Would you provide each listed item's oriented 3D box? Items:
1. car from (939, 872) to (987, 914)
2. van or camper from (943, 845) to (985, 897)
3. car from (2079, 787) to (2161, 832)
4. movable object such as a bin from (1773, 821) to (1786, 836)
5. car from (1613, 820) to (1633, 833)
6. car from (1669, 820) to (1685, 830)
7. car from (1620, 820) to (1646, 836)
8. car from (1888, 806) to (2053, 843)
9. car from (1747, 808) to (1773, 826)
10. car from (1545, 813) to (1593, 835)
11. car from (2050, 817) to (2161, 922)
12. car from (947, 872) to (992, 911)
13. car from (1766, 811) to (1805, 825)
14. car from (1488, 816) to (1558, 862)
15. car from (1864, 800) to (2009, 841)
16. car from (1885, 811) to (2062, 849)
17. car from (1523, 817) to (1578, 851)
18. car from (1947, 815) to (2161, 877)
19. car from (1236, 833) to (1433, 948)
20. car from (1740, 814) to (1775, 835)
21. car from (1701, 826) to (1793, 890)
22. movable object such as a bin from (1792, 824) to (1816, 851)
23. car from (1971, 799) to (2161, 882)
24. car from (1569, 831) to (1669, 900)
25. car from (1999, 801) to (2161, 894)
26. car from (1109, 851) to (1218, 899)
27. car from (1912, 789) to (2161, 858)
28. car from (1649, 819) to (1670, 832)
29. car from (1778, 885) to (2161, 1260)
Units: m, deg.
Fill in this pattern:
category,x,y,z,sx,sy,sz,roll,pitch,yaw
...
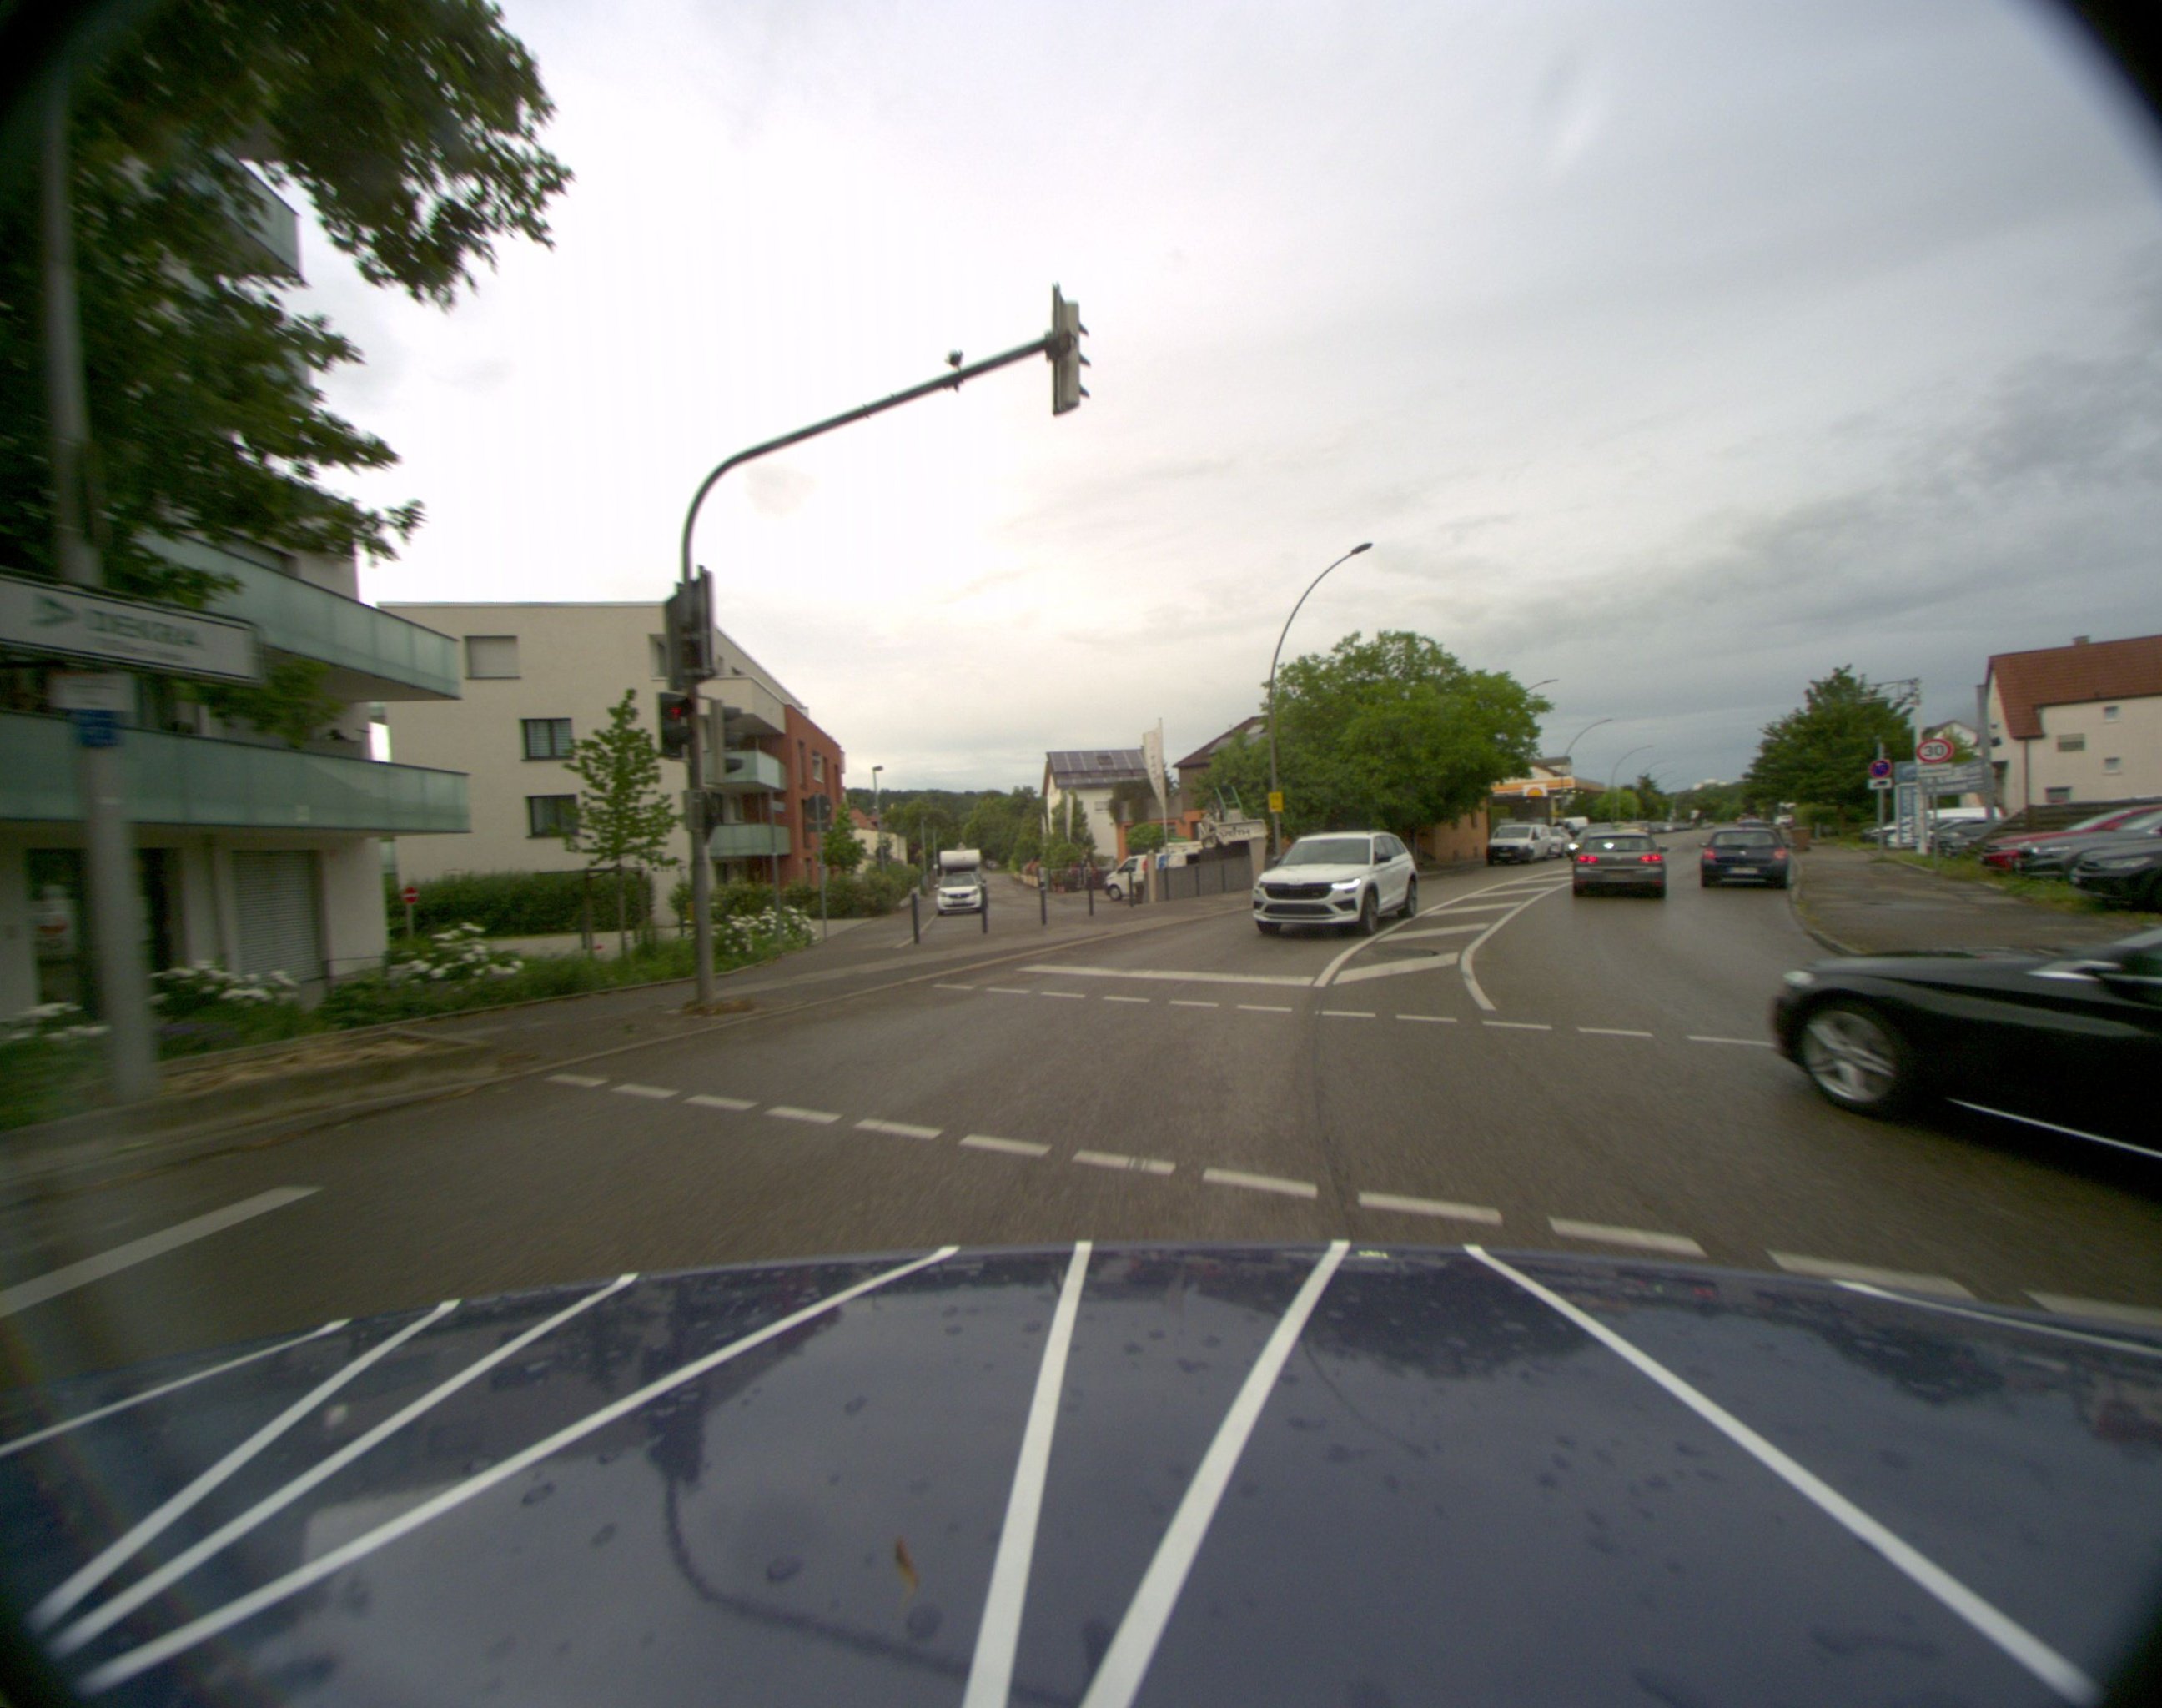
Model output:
category,x,y,z,sx,sy,sz,roll,pitch,yaw
car,-4.661,1.497,29.927,1.728,1.463,2.741,-3,-1,-10
van or camper,-7.257,1.045,47.309,2.326,2.977,5.946,-3,-1,-8
car,48.448,-2.019,34.898,1.994,1.920,5.063,-1,2,39
movable object such as a bin,45.125,-1.629,49.105,0.540,0.905,0.425,-5,-1,40
car,72.629,-3.707,101.785,1.994,1.673,4.007,-2,1,37
car,97.545,-4.752,124.310,1.752,1.410,4.118,-1,1,41
car,53.351,-2.524,73.397,1.657,1.394,3.808,-2,1,41
car,38.048,-1.252,32.705,4.378,1.366,1.892,-2,1,41
car,55.249,-3.000,61.871,1.546,1.395,3.604,0,2,41
car,62.147,-3.754,96.850,4.794,2.506,2.250,-2,1,19
car,16.579,0.139,10.309,3.989,1.432,1.807,-3,0,44
car,-5.055,1.652,34.645,1.853,1.533,4.125,-3,0,-8
car,105.991,-5.376,114.377,3.991,1.637,2.004,-7,-2,39
car,21.415,-0.729,36.763,1.779,2.017,4.763,-3,-1,44
car,42.962,-1.669,38.313,4.559,1.780,1.901,-2,1,37
car,36.031,-0.973,30.876,4.453,1.324,1.774,-2,1,41
car,25.564,-1.122,41.300,1.867,1.655,4.328,-2,1,41
car,25.551,-0.199,19.373,4.350,1.423,1.963,-2,1,42
car,4.703,0.492,13.543,1.880,1.651,4.840,-1,1,37
car,47.919,-2.080,53.860,1.807,1.395,3.952,0,2,41
car,17.096,0.053,19.465,1.627,1.425,3.690,-1,2,43
movable object such as a bin,32.171,-0.736,33.812,0.708,1.123,0.736,-2,1,42
car,20.856,-0.291,15.043,3.989,1.535,1.807,-3,0,44
car,12.749,0.282,17.966,1.724,1.447,4.009,-2,-2,37
car,18.765,-0.159,12.791,3.989,1.535,1.807,-3,0,44
car,3.471,0.914,32.330,4.126,1.859,2.004,-3,-1,43
car,27.115,-0.828,21.702,4.350,1.682,2.062,-2,1,42
car,74.304,-3.633,97.553,1.994,1.587,4.008,-1,1,40
car,5.083,0.888,2.314,1.711,1.384,4.348,1,0,-4
